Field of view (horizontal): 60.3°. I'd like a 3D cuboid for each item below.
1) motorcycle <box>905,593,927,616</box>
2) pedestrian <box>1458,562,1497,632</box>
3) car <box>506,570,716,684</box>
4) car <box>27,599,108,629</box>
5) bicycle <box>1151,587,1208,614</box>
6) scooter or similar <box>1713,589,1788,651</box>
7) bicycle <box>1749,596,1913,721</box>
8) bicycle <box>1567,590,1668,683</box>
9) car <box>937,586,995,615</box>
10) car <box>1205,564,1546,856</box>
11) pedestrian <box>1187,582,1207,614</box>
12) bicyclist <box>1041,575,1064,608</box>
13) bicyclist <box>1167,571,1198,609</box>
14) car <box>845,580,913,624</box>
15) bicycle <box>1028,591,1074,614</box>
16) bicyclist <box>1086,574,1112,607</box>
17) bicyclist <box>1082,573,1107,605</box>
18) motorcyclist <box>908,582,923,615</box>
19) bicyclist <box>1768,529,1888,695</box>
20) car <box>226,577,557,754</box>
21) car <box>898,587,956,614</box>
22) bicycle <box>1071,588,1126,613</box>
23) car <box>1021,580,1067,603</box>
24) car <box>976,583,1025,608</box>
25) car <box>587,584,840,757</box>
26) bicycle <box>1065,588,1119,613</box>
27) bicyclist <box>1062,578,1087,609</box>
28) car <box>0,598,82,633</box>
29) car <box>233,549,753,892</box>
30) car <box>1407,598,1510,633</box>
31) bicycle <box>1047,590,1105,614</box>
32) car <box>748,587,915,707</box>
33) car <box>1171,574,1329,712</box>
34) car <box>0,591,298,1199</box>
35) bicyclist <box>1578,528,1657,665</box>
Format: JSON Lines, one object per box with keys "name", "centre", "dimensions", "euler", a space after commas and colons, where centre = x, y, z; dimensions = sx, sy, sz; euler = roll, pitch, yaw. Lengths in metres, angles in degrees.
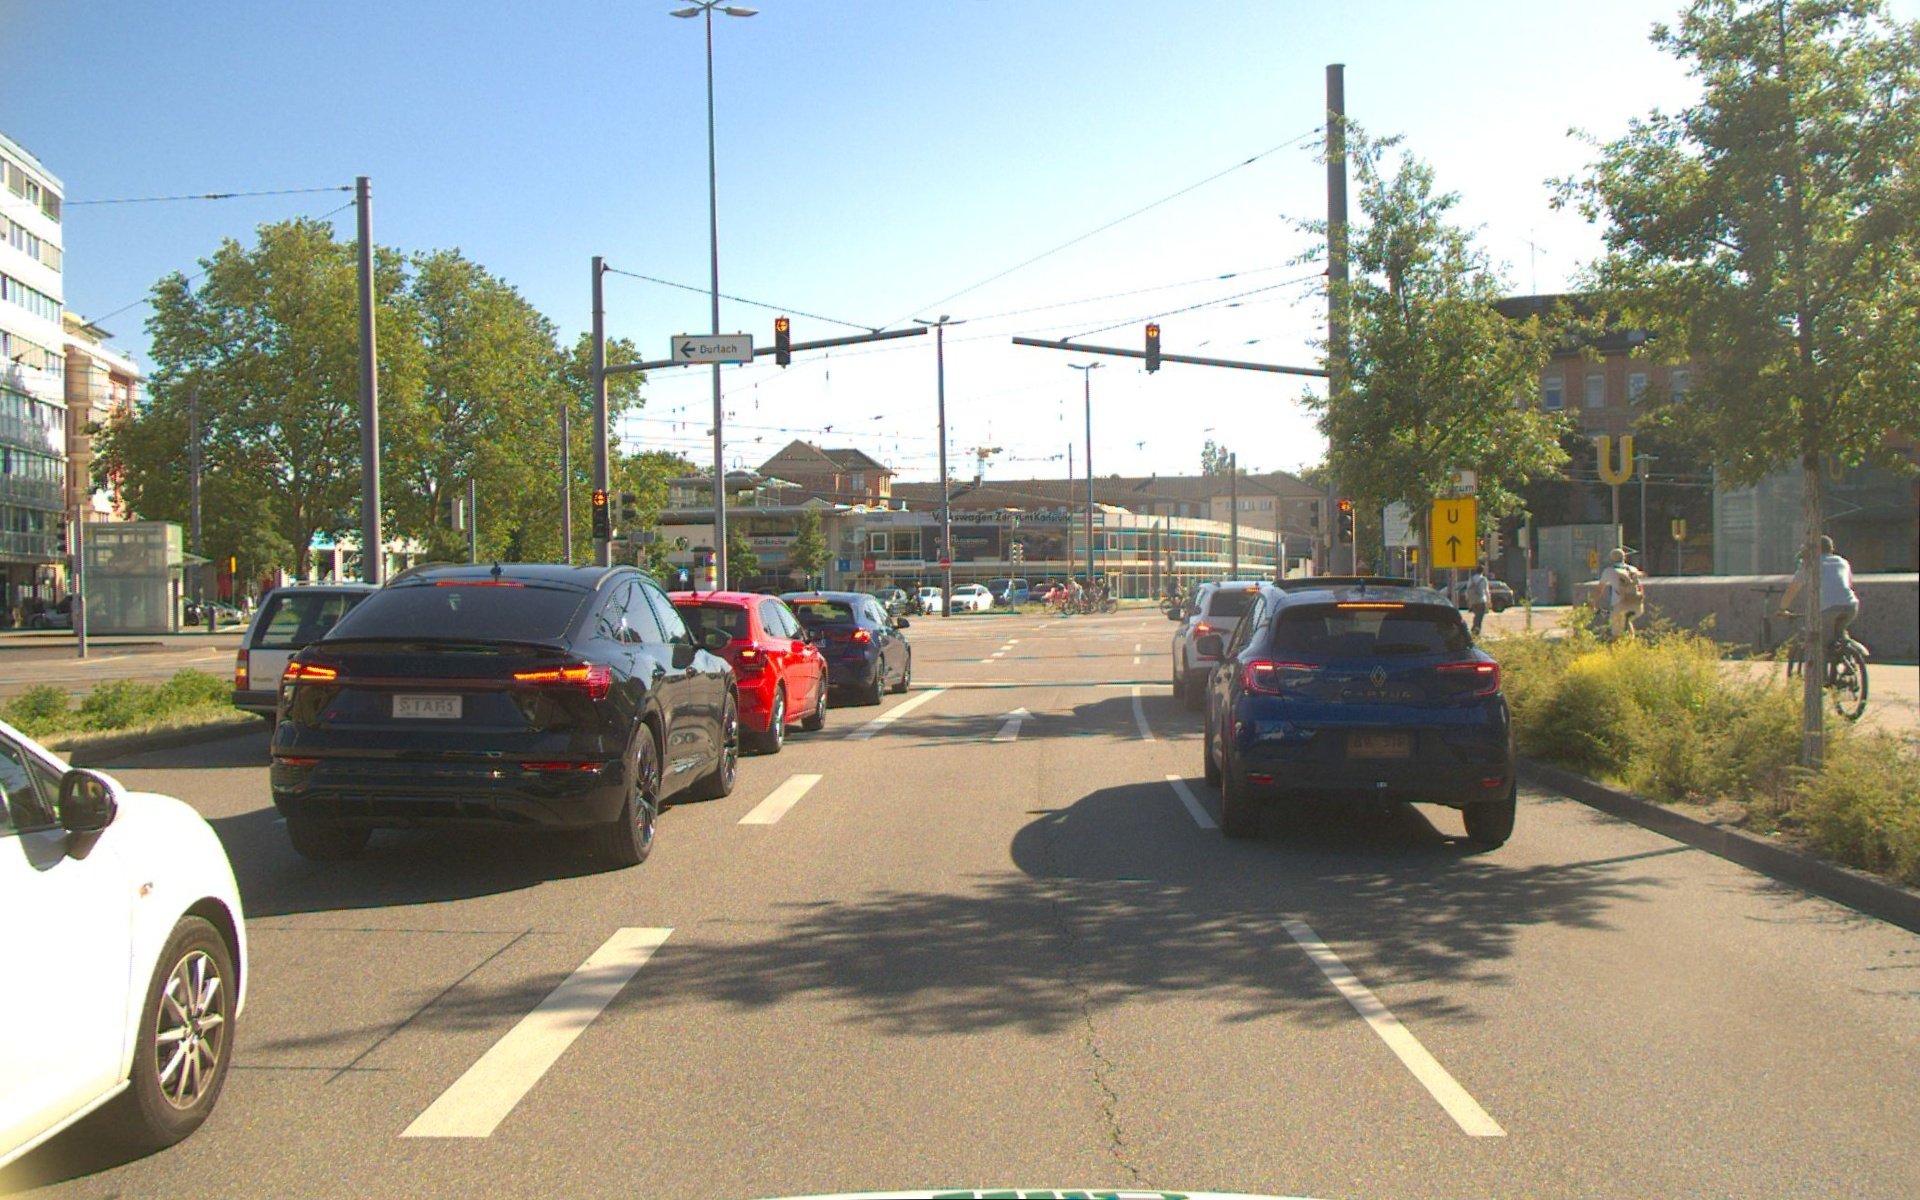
{"name": "motorcycle", "centre": [-2.243, 0.229, 84.157], "dimensions": [0.550, 1.113, 1.837], "euler": [-1, 0, 18]}
{"name": "pedestrian", "centre": [13.205, -0.058, 42.214], "dimensions": [0.863, 1.753, 0.587], "euler": [2, -3, -43]}
{"name": "car", "centre": [-4.906, 0.344, 23.802], "dimensions": [1.688, 1.467, 3.913], "euler": [2, 0, 8]}
{"name": "car", "centre": [-43.473, 0.692, 80.611], "dimensions": [3.210, 1.339, 1.519], "euler": [-1, 3, -17]}
{"name": "bicycle", "centre": [10.654, 0.027, 80.279], "dimensions": [2.608, 1.209, 0.942], "euler": [-1, 3, -22]}
{"name": "scooter or similar", "centre": [14.029, 0.346, 29.377], "dimensions": [0.460, 1.030, 1.244], "euler": [-1, 3, -17]}
{"name": "bicycle", "centre": [8.931, 0.565, 17.046], "dimensions": [0.701, 1.185, 1.870], "euler": [-1, 1, 0]}
{"name": "bicycle", "centre": [8.832, 0.466, 22.293], "dimensions": [0.730, 1.185, 1.871], "euler": [-1, 1, 4]}
{"name": "car", "centre": [0.351, 0.011, 88.451], "dimensions": [1.690, 1.468, 4.184], "euler": [-1, 0, 22]}
{"name": "car", "centre": [2.668, 0.620, 11.439], "dimensions": [1.837, 1.646, 3.800], "euler": [1, 0, 7]}
{"name": "pedestrian", "centre": [12.565, -0.131, 87.639], "dimensions": [0.843, 1.639, 0.694], "euler": [-2, 3, -38]}
{"name": "bicyclist", "centre": [4.576, -0.405, 81.583], "dimensions": [0.968, 1.632, 0.756], "euler": [-1, 0, -13]}
{"name": "bicyclist", "centre": [10.802, -0.475, 80.320], "dimensions": [1.167, 1.807, 0.942], "euler": [-1, 2, -21]}
{"name": "car", "centre": [-4.111, 0.064, 84.734], "dimensions": [1.953, 2.048, 4.000], "euler": [1, 3, 22]}
{"name": "bicycle", "centre": [4.487, 0.101, 81.557], "dimensions": [2.140, 1.114, 0.756], "euler": [-1, 0, -13]}
{"name": "bicyclist", "centre": [6.959, -0.487, 82.682], "dimensions": [1.044, 1.611, 0.944], "euler": [-1, 2, -13]}
{"name": "bicyclist", "centre": [6.858, -0.562, 84.536], "dimensions": [1.044, 1.611, 0.944], "euler": [-1, 2, -13]}
{"name": "motorcyclist", "centre": [-2.259, -0.071, 84.106], "dimensions": [0.538, 1.649, 0.745], "euler": [-1, 0, 18]}
{"name": "bicyclist", "centre": [8.923, 0.116, 17.038], "dimensions": [0.705, 1.645, 0.978], "euler": [-1, 0, 0]}
{"name": "car", "centre": [-5.267, 0.526, 15.869], "dimensions": [1.689, 1.467, 3.800], "euler": [0, 1, 3]}
{"name": "car", "centre": [-1.778, 0.023, 91.125], "dimensions": [1.690, 1.468, 4.184], "euler": [-1, 0, 22]}
{"name": "bicycle", "centre": [6.926, 0.015, 82.690], "dimensions": [2.601, 1.209, 0.944], "euler": [-1, 2, -14]}
{"name": "car", "centre": [5.577, -0.558, 109.257], "dimensions": [1.690, 1.467, 4.184], "euler": [2, 0, 22]}
{"name": "car", "centre": [2.532, -0.283, 102.651], "dimensions": [1.690, 1.467, 4.184], "euler": [2, 0, 22]}
{"name": "car", "centre": [-2.296, 0.604, 16.331], "dimensions": [1.636, 1.467, 3.724], "euler": [2, 0, 5]}
{"name": "bicycle", "centre": [6.717, -0.003, 84.514], "dimensions": [2.601, 1.209, 0.944], "euler": [-1, 2, -14]}
{"name": "bicyclist", "centre": [5.546, -0.308, 79.872], "dimensions": [0.946, 1.474, 0.965], "euler": [-1, 0, -15]}
{"name": "car", "centre": [-42.541, 0.709, 76.201], "dimensions": [3.376, 1.537, 1.686], "euler": [0, 0, -16]}
{"name": "car", "centre": [-2.549, 0.576, 10.245], "dimensions": [1.943, 1.652, 4.378], "euler": [1, 0, 0]}
{"name": "car", "centre": [22.769, 0.701, 75.570], "dimensions": [4.289, 1.467, 1.723], "euler": [1, 0, -16]}
{"name": "bicycle", "centre": [5.598, 0.088, 79.883], "dimensions": [2.599, 1.114, 0.965], "euler": [-1, 0, -15]}
{"name": "car", "centre": [-1.677, 0.579, 22.814], "dimensions": [1.689, 1.467, 3.801], "euler": [2, 0, 5]}
{"name": "car", "centre": [3.770, 0.519, 22.017], "dimensions": [1.837, 1.646, 3.627], "euler": [1, 0, 6]}
{"name": "car", "centre": [-2.813, 0.712, 3.149], "dimensions": [1.657, 1.461, 3.736], "euler": [1, 0, -1]}
{"name": "bicyclist", "centre": [8.815, -0.048, 22.212], "dimensions": [0.704, 1.793, 0.978], "euler": [-1, 0, 4]}
